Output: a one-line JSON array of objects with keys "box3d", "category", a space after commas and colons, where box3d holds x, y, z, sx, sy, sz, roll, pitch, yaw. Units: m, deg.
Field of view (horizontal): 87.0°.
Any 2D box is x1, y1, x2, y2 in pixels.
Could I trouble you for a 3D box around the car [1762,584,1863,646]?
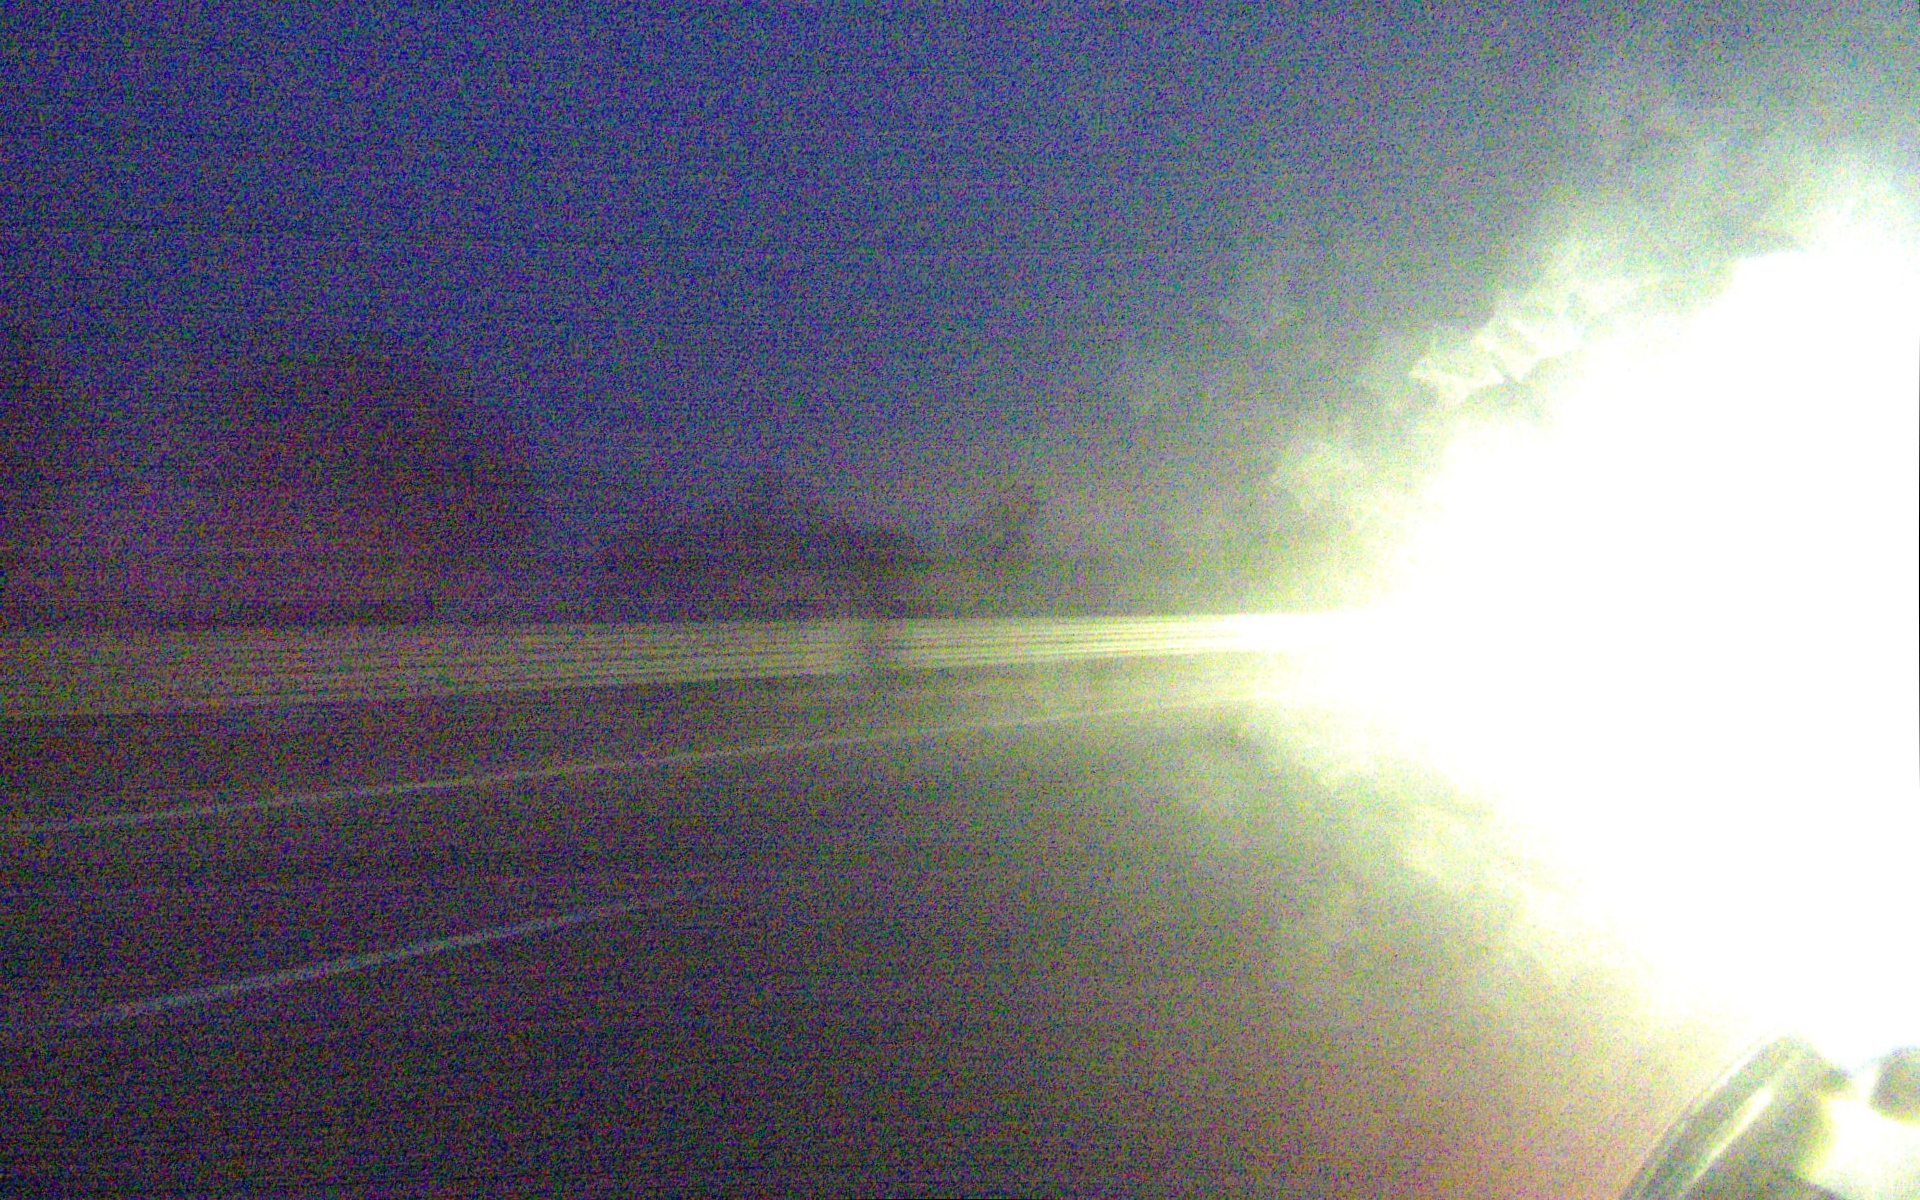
[{"box3d": [27.835, 0.481, 32.987, 4.616, 1.870, 1.830, 1, -1, -41], "category": "car"}]
